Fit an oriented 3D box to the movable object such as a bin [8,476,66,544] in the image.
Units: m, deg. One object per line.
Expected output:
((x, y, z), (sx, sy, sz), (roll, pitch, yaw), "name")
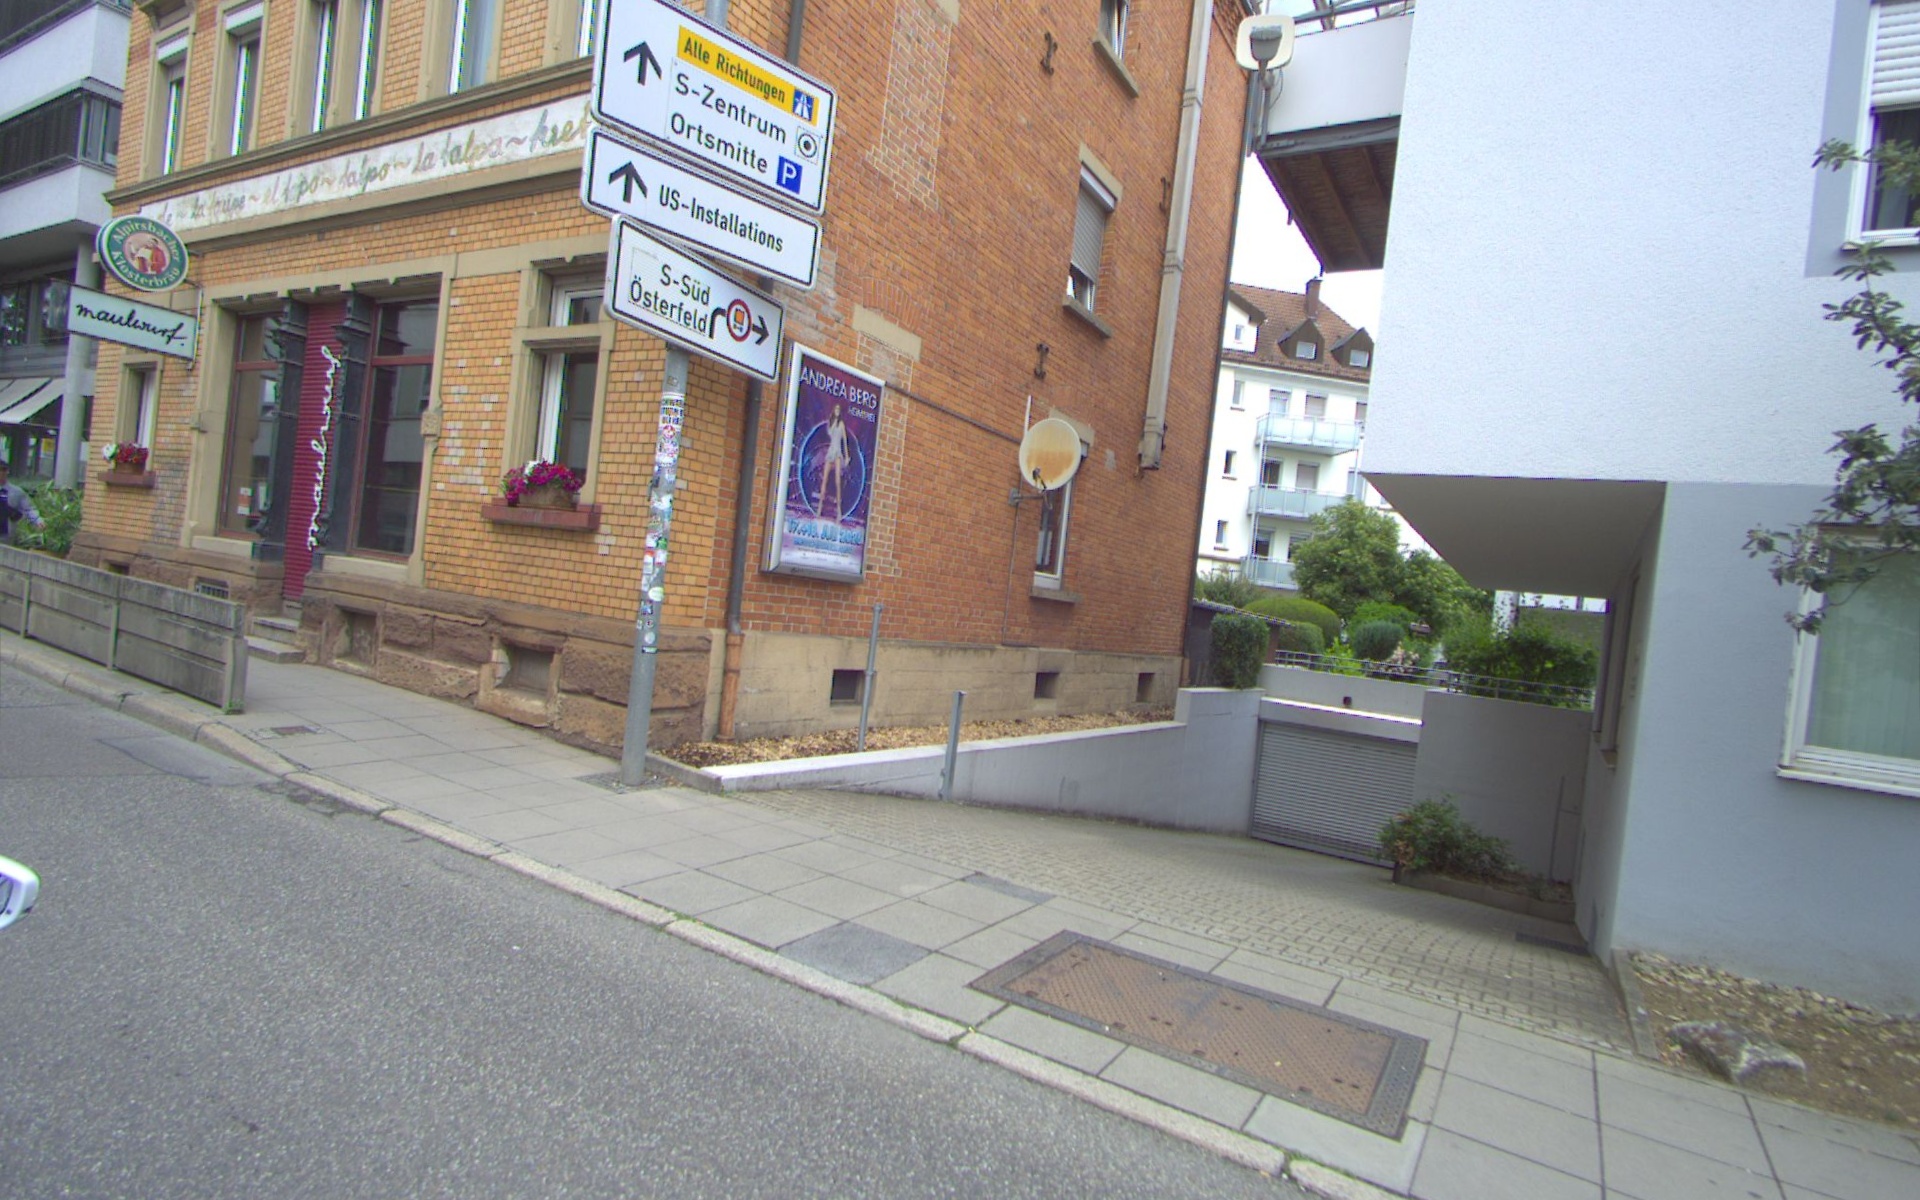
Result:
((-21.952, -2.136, 23.926), (0.720, 1.510, 0.820), (6, 3, 33), "movable object such as a bin")

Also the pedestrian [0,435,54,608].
((-11.713, -0.972, 12.258), (0.665, 2.039, 0.694), (7, 1, 30), "pedestrian")

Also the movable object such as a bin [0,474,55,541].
((-22.576, -2.229, 24.324), (0.720, 1.524, 0.820), (6, 3, 33), "movable object such as a bin")

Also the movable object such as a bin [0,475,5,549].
((-20.262, -1.867, 20.344), (1.421, 1.490, 0.944), (7, 2, 29), "movable object such as a bin")

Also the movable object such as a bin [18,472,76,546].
((-21.335, -2.127, 23.507), (0.720, 1.611, 0.820), (6, 3, 33), "movable object such as a bin")
